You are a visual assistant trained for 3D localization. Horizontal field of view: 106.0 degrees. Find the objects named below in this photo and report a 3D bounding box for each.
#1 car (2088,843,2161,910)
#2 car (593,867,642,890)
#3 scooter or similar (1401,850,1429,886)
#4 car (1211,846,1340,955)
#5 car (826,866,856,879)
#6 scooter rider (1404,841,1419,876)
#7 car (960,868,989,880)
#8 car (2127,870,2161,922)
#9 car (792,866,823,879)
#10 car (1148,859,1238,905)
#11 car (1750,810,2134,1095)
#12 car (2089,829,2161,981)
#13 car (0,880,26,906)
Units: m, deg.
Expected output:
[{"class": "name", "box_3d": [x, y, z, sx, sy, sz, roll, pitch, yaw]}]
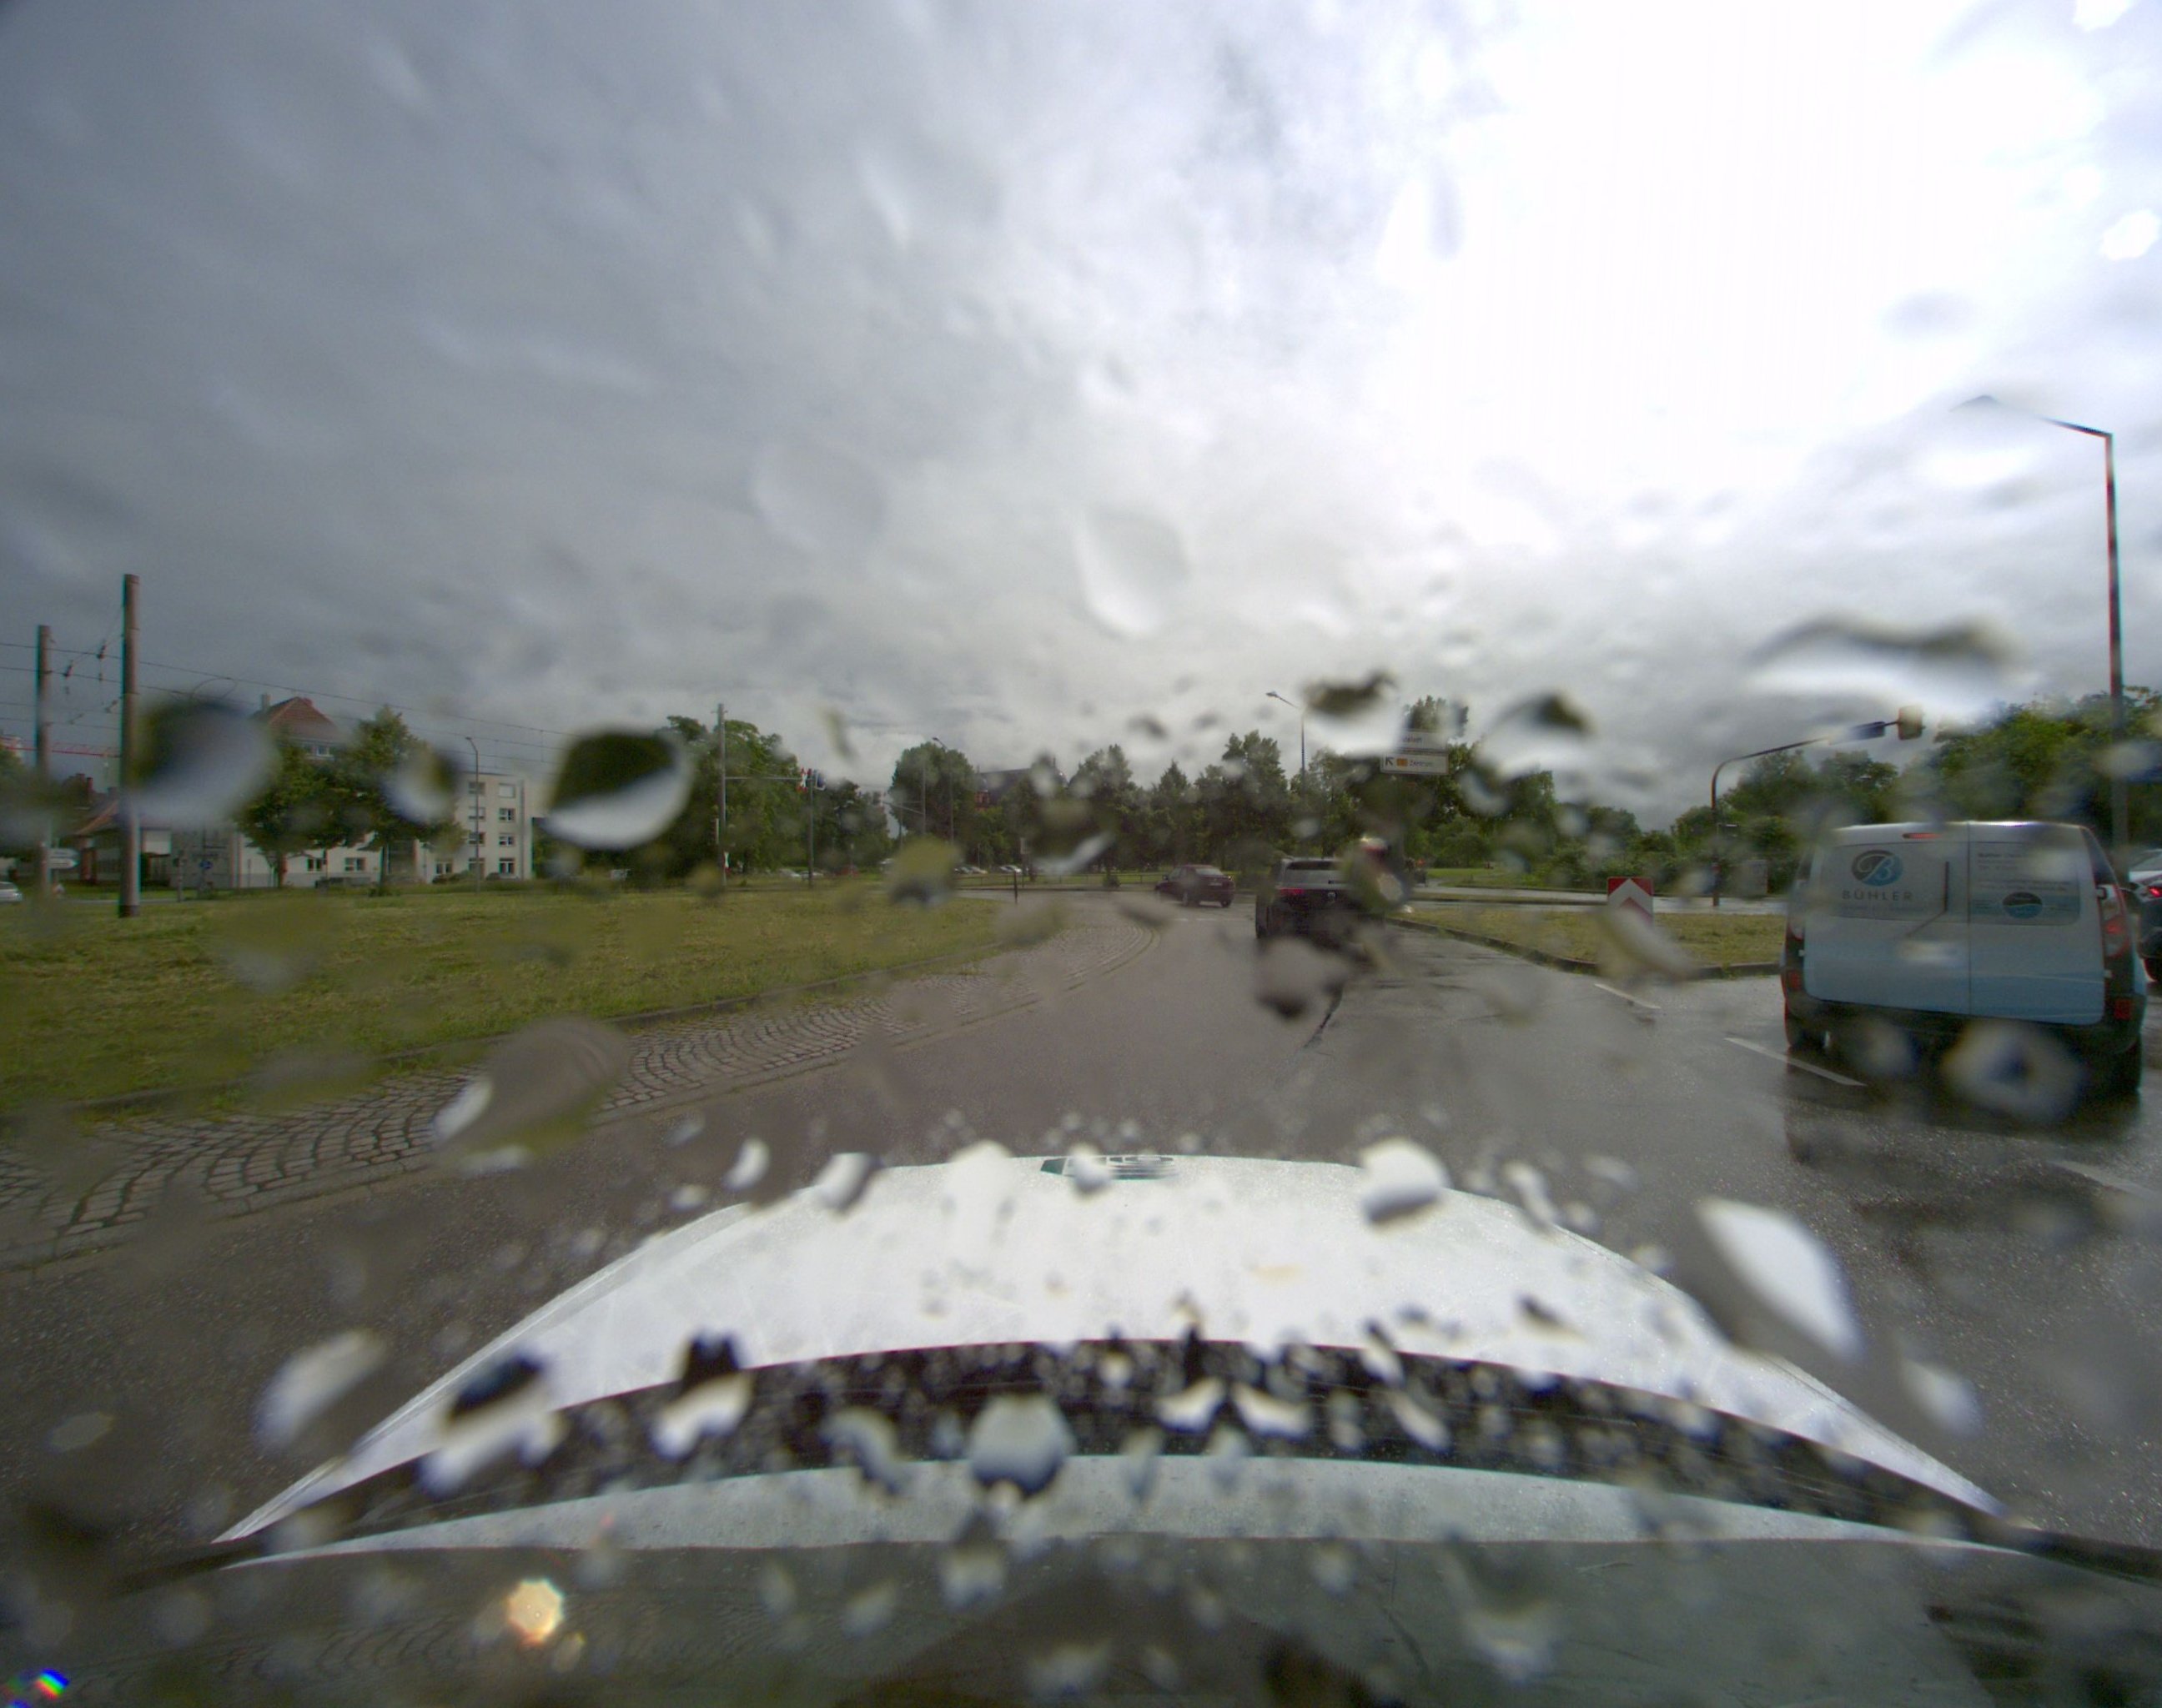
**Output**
[{"class": "car", "box_3d": [34.342, 0.669, 24.757, 4.765, 1.987, 2.080, 0, 0, 2]}, {"class": "car", "box_3d": [-44.031, 2.326, 77.267, 5.094, 2.057, 2.127, 0, 0, 36]}, {"class": "scooter or similar", "box_3d": [19.230, 0.841, 46.941, 1.226, 2.014, 3.424, 0, -2, 18]}, {"class": "car", "box_3d": [3.331, 0.709, 14.245, 1.885, 1.618, 4.013, 0, -1, 12]}, {"class": "car", "box_3d": [-29.166, 2.233, 98.970, 3.603, 1.510, 1.660, -2, -1, 38]}, {"class": "scooter rider", "box_3d": [19.380, 0.285, 47.774, 0.699, 2.014, 0.773, 0, -2, 12]}, {"class": "car", "box_3d": [-15.650, 2.948, 120.082, 3.927, 1.560, 1.862, -2, -1, 32]}, {"class": "car", "box_3d": [31.604, 1.148, 21.834, 4.517, 1.380, 1.869, 0, 0, 3]}, {"class": "car", "box_3d": [-31.809, 2.188, 94.613, 3.564, 1.462, 1.656, -1, -1, 35]}, {"class": "car", "box_3d": [3.853, 0.931, 28.781, 1.718, 1.462, 3.979, -1, 0, -16]}, {"class": "car", "box_3d": [7.600, 0.610, 7.251, 4.576, 1.762, 1.845, 0, 0, -42]}, {"class": "car", "box_3d": [14.639, 0.559, 9.688, 4.322, 1.757, 2.029, -1, 0, -20]}, {"class": "car", "box_3d": [-64.264, 2.294, 47.789, 3.464, 1.454, 1.556, -1, 0, 13]}]
